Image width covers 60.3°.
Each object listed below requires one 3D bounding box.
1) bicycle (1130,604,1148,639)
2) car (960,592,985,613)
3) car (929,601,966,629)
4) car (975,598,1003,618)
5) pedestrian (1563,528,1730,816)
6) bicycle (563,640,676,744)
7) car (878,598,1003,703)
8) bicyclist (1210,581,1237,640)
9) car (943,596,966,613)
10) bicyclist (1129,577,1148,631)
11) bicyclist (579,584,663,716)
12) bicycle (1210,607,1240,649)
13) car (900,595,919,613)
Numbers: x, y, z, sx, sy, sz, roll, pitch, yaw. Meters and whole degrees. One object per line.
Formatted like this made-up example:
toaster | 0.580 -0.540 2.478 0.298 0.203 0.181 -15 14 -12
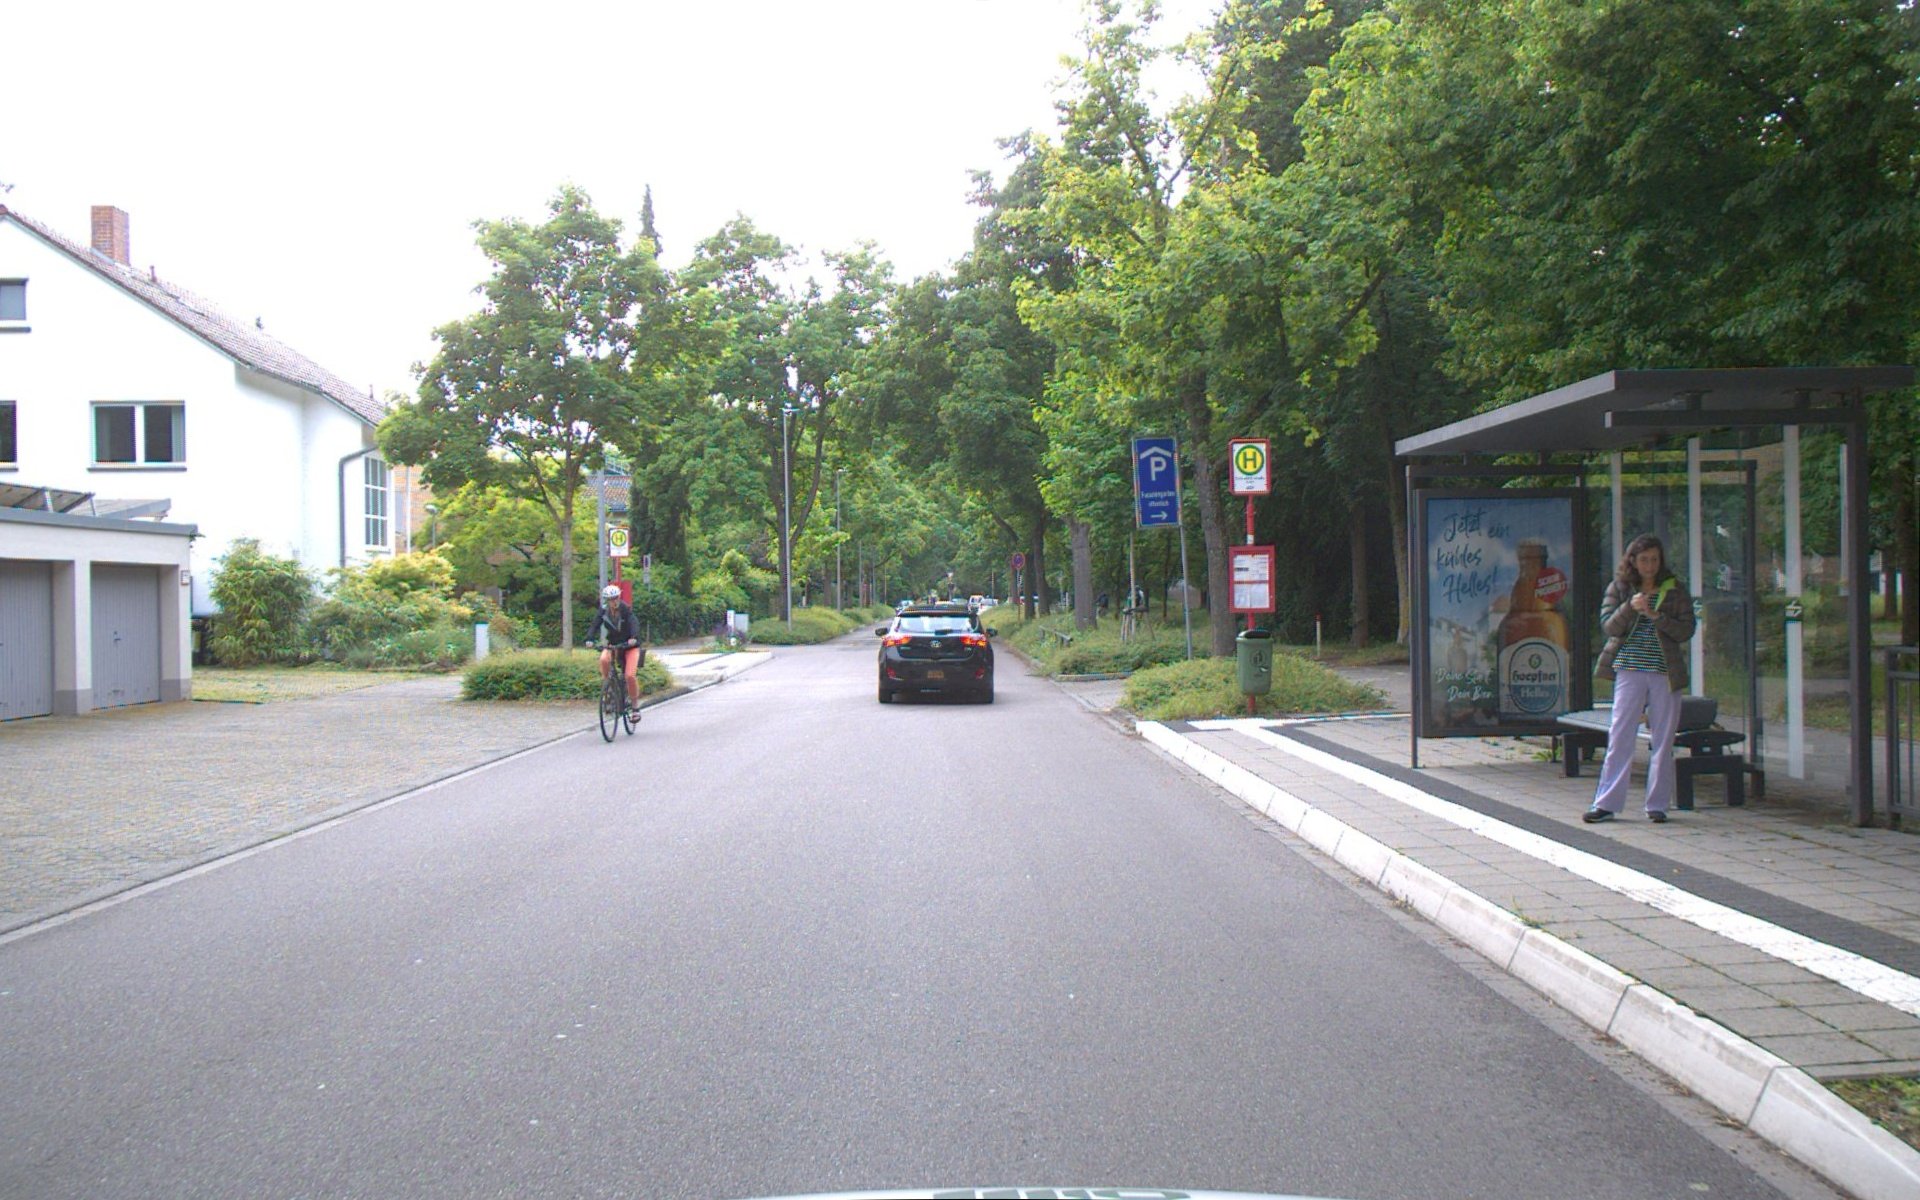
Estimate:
bicycle | 5.324 0.628 49.150 0.481 0.992 1.945 -2 0 6
car | 1.268 0.294 171.052 1.956 2.049 3.993 -2 0 -8
car | -0.734 0.827 92.611 1.827 1.488 4.114 -1 0 -4
car | 2.202 0.616 126.020 1.861 1.512 3.998 -1 0 -3
pedestrian | 4.012 0.406 9.708 0.640 1.611 0.698 -2 0 -1
bicycle | -3.969 1.045 19.493 0.778 1.043 2.564 -2 0 0
car | -0.335 0.732 26.062 1.809 1.488 3.826 -1 0 -2
bicyclist | 6.552 0.255 41.173 0.584 1.434 0.758 -2 0 6
car | -0.506 0.395 149.157 1.953 1.512 3.999 -2 0 -1
bicyclist | 5.332 0.118 49.349 0.523 1.576 0.758 -2 0 6
bicyclist | -3.979 0.571 19.481 0.768 1.495 0.937 -2 0 -1
bicycle | 6.597 0.693 41.279 0.594 0.992 1.945 -2 0 6
car | -4.383 0.370 143.364 1.531 1.462 4.212 -2 0 -3
